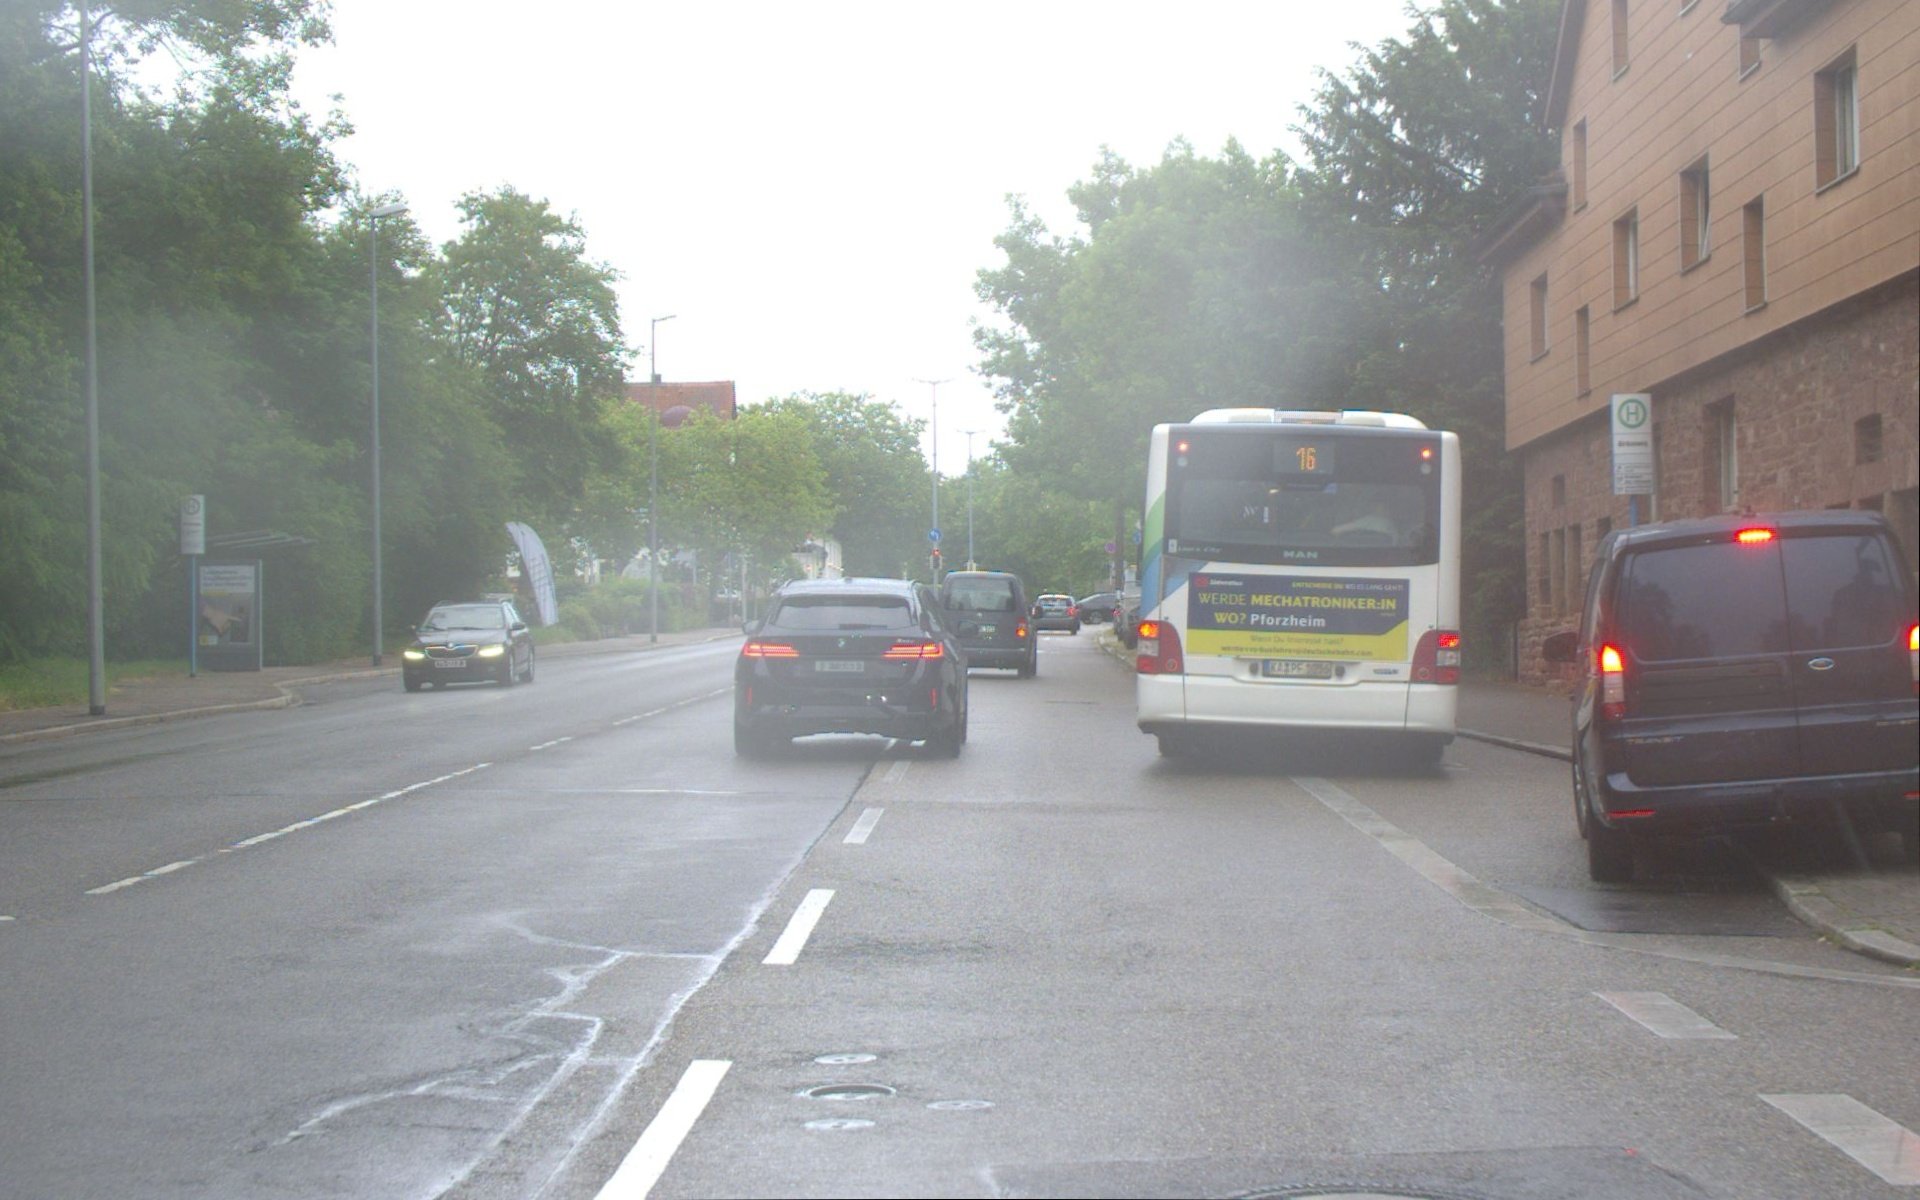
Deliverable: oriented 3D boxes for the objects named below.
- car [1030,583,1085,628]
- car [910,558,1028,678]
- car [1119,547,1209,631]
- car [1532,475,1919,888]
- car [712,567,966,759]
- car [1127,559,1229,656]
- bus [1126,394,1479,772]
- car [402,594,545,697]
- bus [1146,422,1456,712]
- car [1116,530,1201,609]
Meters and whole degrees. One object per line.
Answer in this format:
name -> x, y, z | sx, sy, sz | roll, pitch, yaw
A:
car -> 3.619, 0.205, 128.113 | 1.865, 1.514, 4.000 | -1, 2, 0
car -> 0.193, 0.284, 60.576 | 1.993, 2.007, 4.000 | 0, 1, 1
car -> 5.141, -0.300, 87.094 | 1.993, 2.006, 4.000 | -1, 2, 0
car -> 4.185, 0.389, 18.908 | 1.927, 1.886, 4.759 | -4, 0, 10
car -> -0.983, 0.494, 29.984 | 1.993, 1.448, 4.000 | 2, 1, 0
car -> 4.861, 0.141, 77.076 | 1.993, 2.006, 4.000 | -1, 2, 0
bus -> 3.098, -0.223, 30.562 | 2.624, 2.838, 8.287 | -2, 1, 7
car -> -8.084, 0.732, 57.431 | 1.770, 1.528, 4.000 | -2, 1, 0
bus -> 3.689, -0.430, 39.446 | 2.623, 2.838, 9.795 | -2, 1, 1
car -> 5.266, -0.835, 91.733 | 1.993, 2.006, 4.000 | -1, 2, 0
